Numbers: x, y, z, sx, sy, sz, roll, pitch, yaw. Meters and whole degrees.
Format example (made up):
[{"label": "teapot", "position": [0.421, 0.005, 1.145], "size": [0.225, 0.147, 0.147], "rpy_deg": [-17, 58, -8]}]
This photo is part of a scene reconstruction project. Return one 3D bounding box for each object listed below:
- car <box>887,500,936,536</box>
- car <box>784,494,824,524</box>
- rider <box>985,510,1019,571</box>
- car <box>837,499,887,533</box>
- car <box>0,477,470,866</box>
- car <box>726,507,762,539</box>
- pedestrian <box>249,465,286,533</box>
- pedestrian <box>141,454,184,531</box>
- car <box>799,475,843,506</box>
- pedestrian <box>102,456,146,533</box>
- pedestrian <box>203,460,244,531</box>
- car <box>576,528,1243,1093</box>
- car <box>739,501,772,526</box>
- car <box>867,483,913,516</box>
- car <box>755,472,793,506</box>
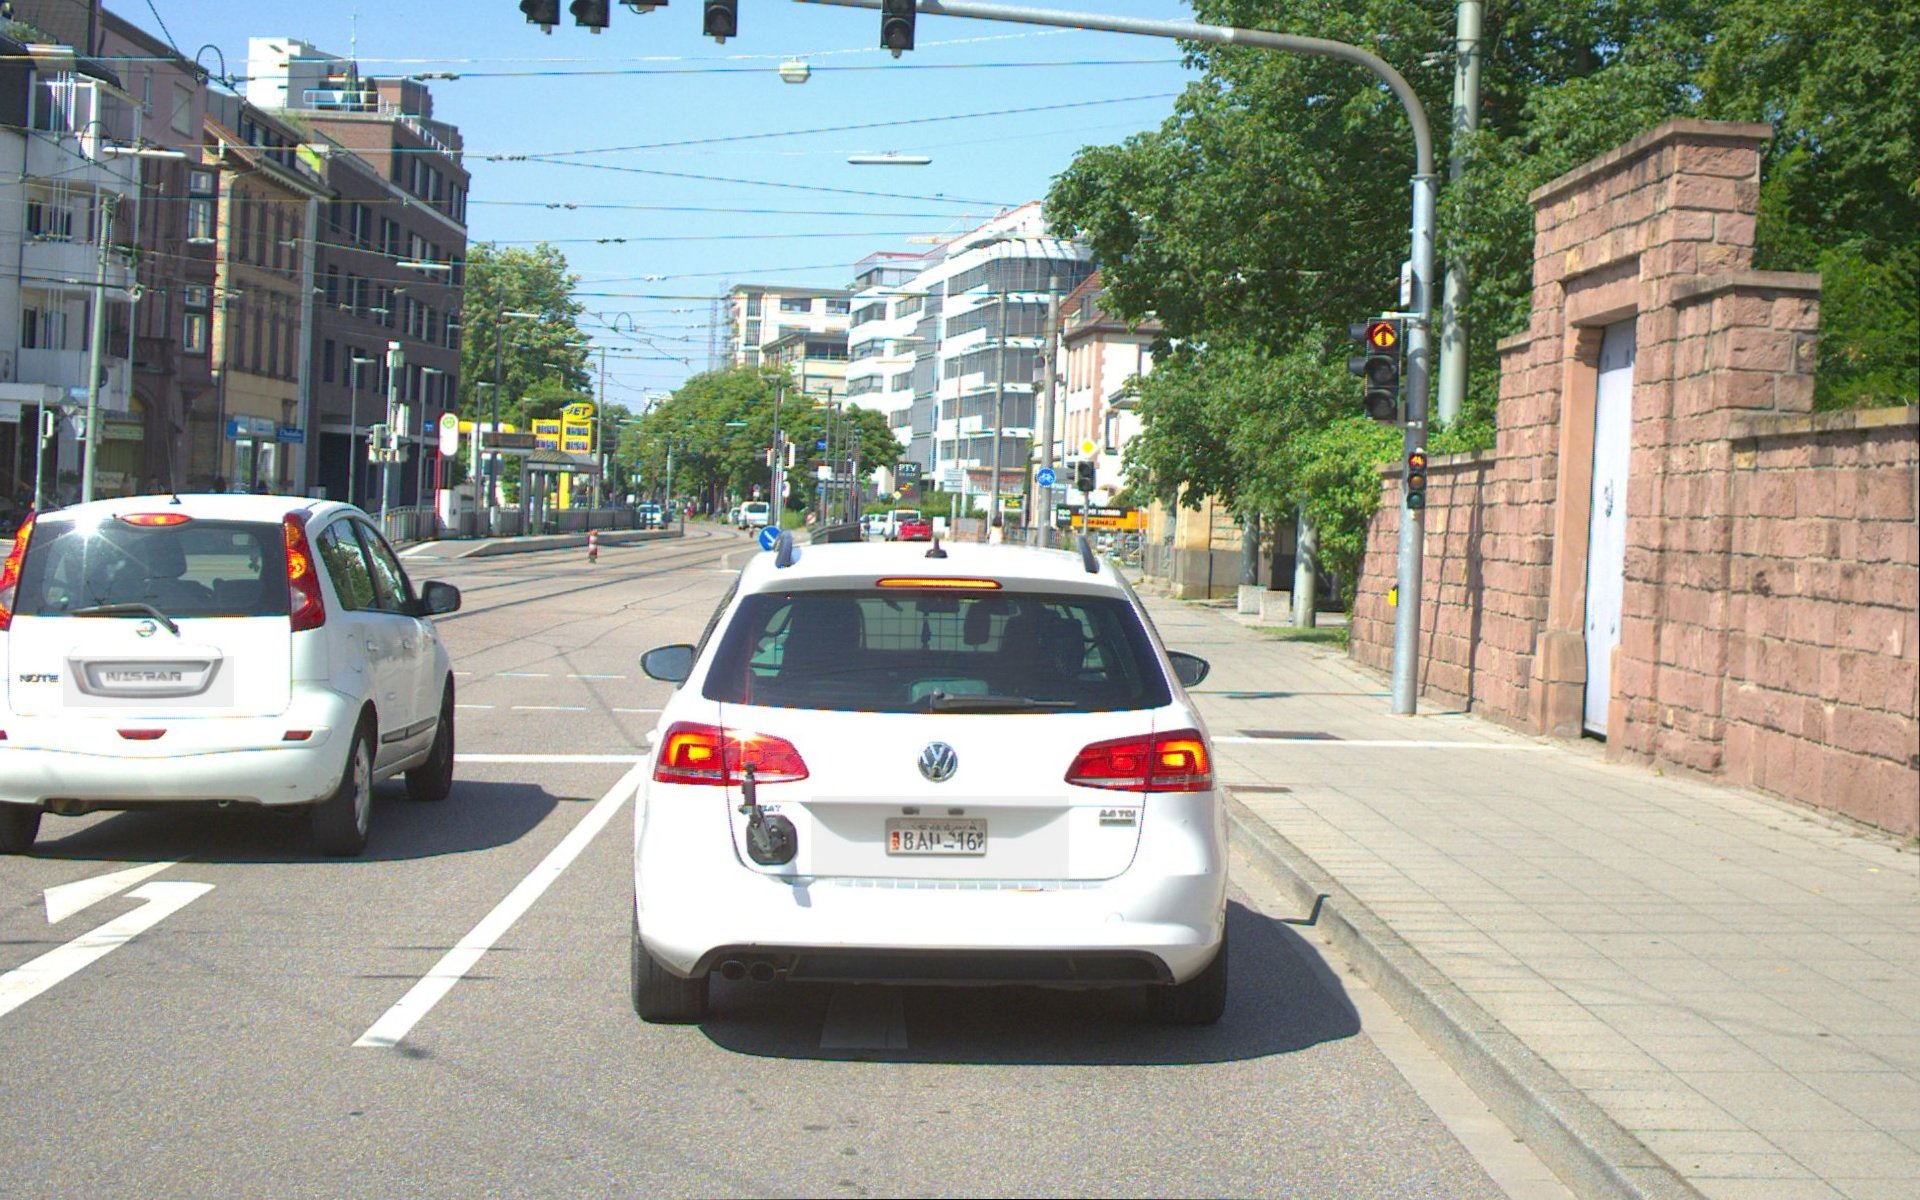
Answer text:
[{"label": "car", "position": [-2.902, -4.882, 205.121], "size": [1.993, 2.007, 4.002], "rpy_deg": [2, 1, -14]}, {"label": "car", "position": [-11.130, -6.495, 245.445], "size": [1.993, 2.007, 4.002], "rpy_deg": [2, 1, -14]}, {"label": "rider", "position": [1.227, -1.749, 100.607], "size": [0.891, 1.722, 2.204], "rpy_deg": [2, 1, 0]}, {"label": "car", "position": [-5.961, -5.112, 208.825], "size": [1.993, 1.897, 4.002], "rpy_deg": [2, 1, -16]}, {"label": "car", "position": [-3.425, 0.243, 16.203], "size": [1.730, 1.590, 4.011], "rpy_deg": [1, 1, -1]}, {"label": "car", "position": [-11.216, -4.002, 178.447], "size": [1.698, 1.585, 3.535], "rpy_deg": [2, 1, -2]}, {"label": "pedestrian", "position": [-21.076, -3.069, 104.599], "size": [0.936, 2.007, 0.991], "rpy_deg": [2, 1, -6]}, {"label": "pedestrian", "position": [-21.345, -2.882, 92.027], "size": [0.936, 2.007, 0.991], "rpy_deg": [2, 1, -6]}, {"label": "car", "position": [-9.735, -7.675, 240.615], "size": [1.993, 2.006, 4.002], "rpy_deg": [4, 1, -16]}, {"label": "pedestrian", "position": [-22.355, -2.832, 91.965], "size": [0.936, 2.007, 0.991], "rpy_deg": [2, 1, -5]}, {"label": "pedestrian", "position": [-21.184, -2.997, 98.895], "size": [0.936, 2.007, 0.991], "rpy_deg": [2, 1, -3]}, {"label": "car", "position": [-0.099, 0.527, 11.166], "size": [1.779, 1.485, 3.847], "rpy_deg": [1, 1, 1]}, {"label": "car", "position": [-13.676, -5.785, 230.172], "size": [1.698, 1.585, 3.536], "rpy_deg": [2, 1, -11]}, {"label": "car", "position": [-4.497, -6.450, 219.494], "size": [1.993, 2.007, 4.002], "rpy_deg": [2, 1, -14]}, {"label": "car", "position": [-13.917, -8.302, 257.556], "size": [1.993, 2.448, 4.149], "rpy_deg": [2, 1, -14]}]
